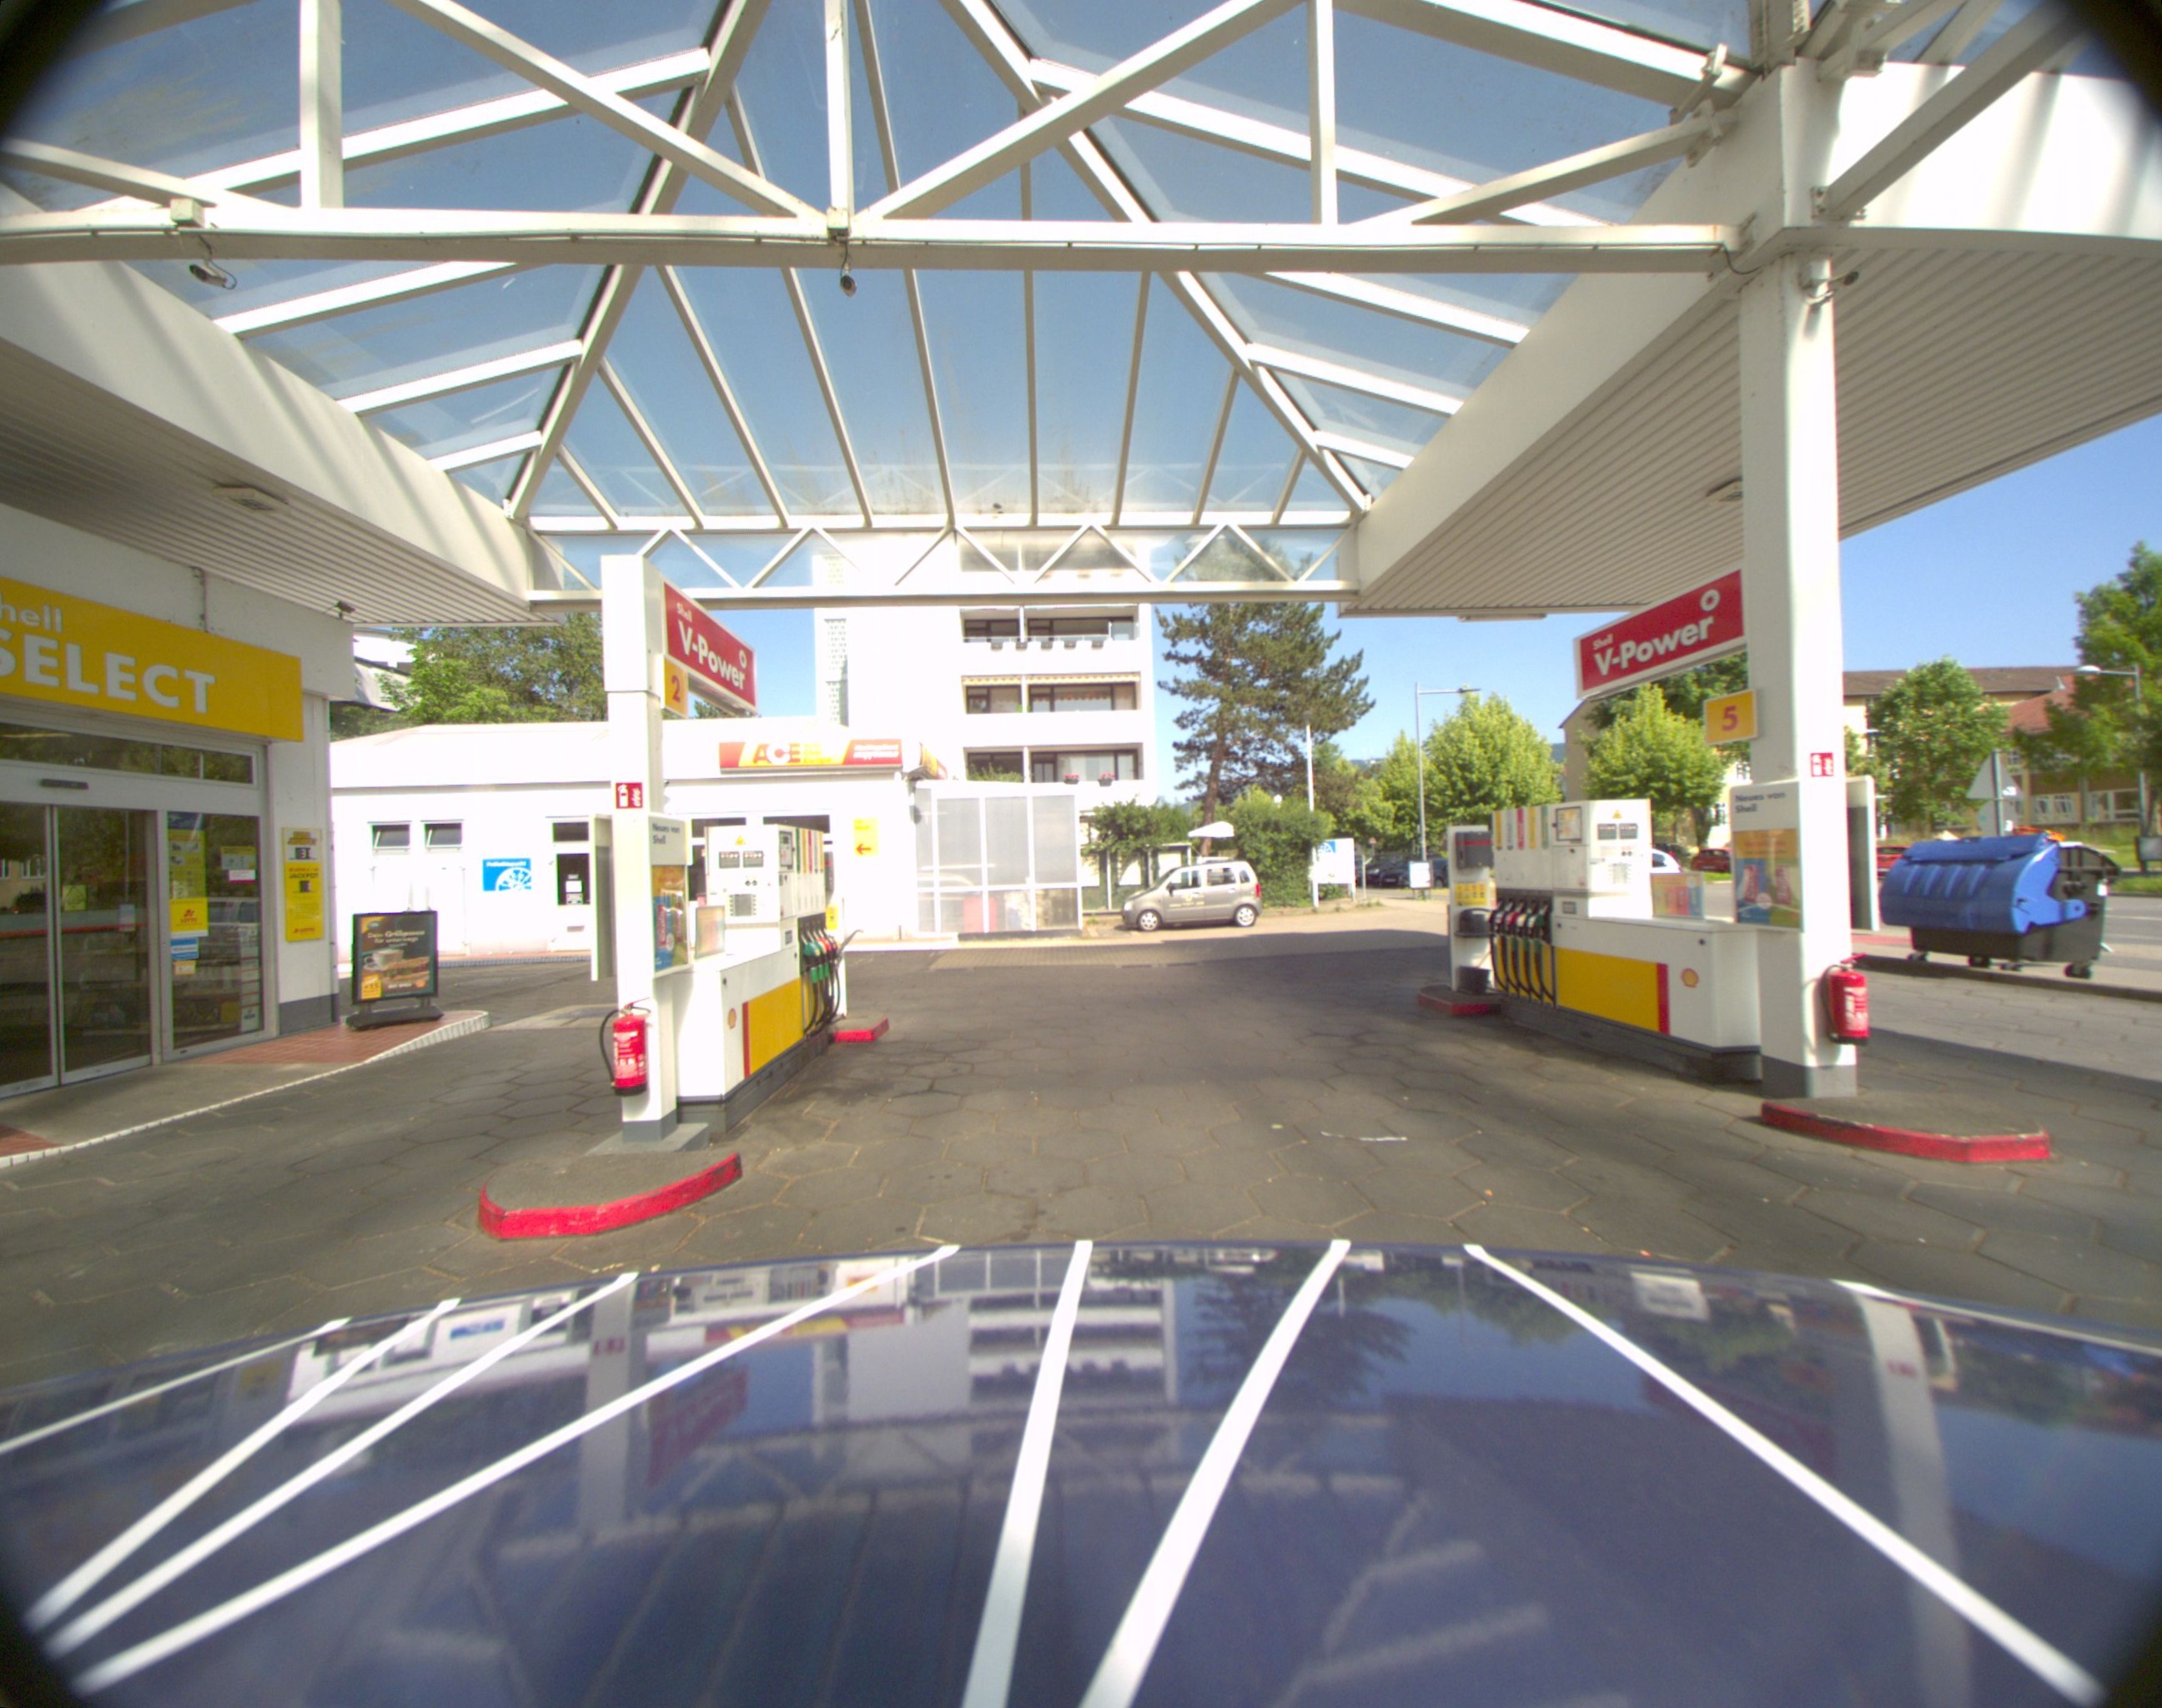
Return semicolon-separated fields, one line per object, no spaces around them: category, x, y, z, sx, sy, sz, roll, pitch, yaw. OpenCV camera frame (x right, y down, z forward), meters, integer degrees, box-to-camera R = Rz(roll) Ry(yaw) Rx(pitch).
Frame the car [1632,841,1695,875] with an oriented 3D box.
car;31.214;0.201;40.687;4.235;1.712;1.876;0;0;-41

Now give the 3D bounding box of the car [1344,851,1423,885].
car;16.063;0.716;40.226;4.411;1.710;1.700;-1;0;-35

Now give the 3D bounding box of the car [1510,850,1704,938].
car;12.007;0.828;17.291;4.314;1.696;1.957;-2;-1;-31

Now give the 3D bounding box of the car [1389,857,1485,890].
car;16.356;0.855;34.913;4.232;1.408;1.877;0;0;-29

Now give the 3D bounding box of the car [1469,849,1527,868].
car;31.708;0.340;57.803;3.730;1.383;1.878;0;0;-21

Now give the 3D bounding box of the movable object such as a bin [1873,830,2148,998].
movable object such as a bin;9.983;0.605;8.260;1.342;1.678;1.337;0;0;-1

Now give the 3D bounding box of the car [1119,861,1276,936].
car;2.877;1.084;19.318;3.660;1.607;1.692;-3;0;-1

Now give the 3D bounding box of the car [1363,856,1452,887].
car;16.297;0.831;37.852;4.232;1.473;1.877;0;0;-29

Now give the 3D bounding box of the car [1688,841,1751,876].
car;32.679;0.206;38.847;4.235;1.712;1.876;0;0;-41

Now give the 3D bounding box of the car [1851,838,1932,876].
car;33.124;0.092;31.026;4.234;1.451;1.876;0;0;-38

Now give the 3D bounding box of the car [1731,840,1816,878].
car;32.880;0.210;36.056;4.233;1.712;1.877;0;0;-32

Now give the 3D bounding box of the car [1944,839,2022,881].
car;33.396;0.226;28.103;4.234;1.451;1.737;0;-1;-38
